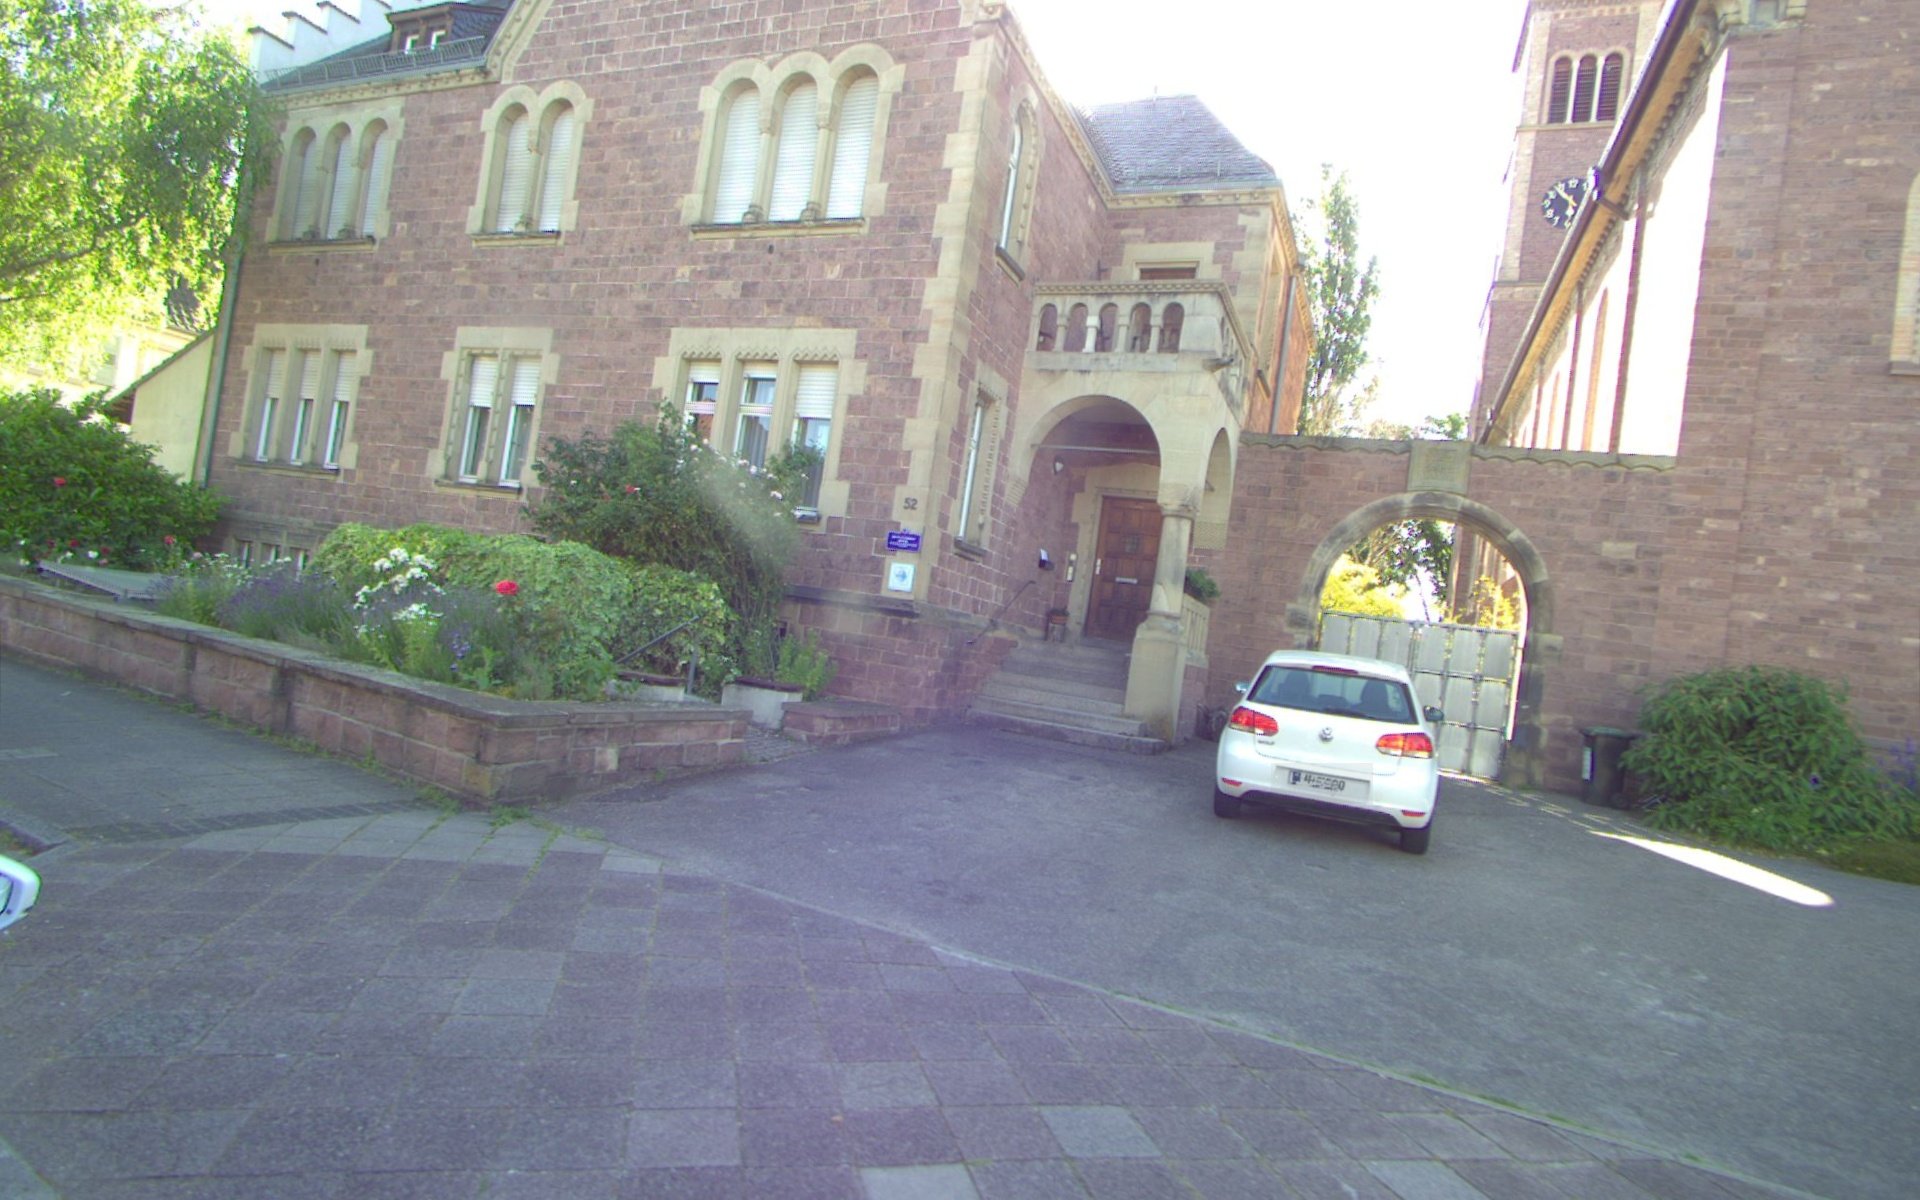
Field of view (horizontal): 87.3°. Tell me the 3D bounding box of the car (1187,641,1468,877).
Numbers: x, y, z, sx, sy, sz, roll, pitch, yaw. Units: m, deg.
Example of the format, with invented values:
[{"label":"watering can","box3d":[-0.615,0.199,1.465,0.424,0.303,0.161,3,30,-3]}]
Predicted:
[{"label":"car","box3d":[3.469,1.240,9.433,1.870,1.515,3.907,6,0,22]}]
